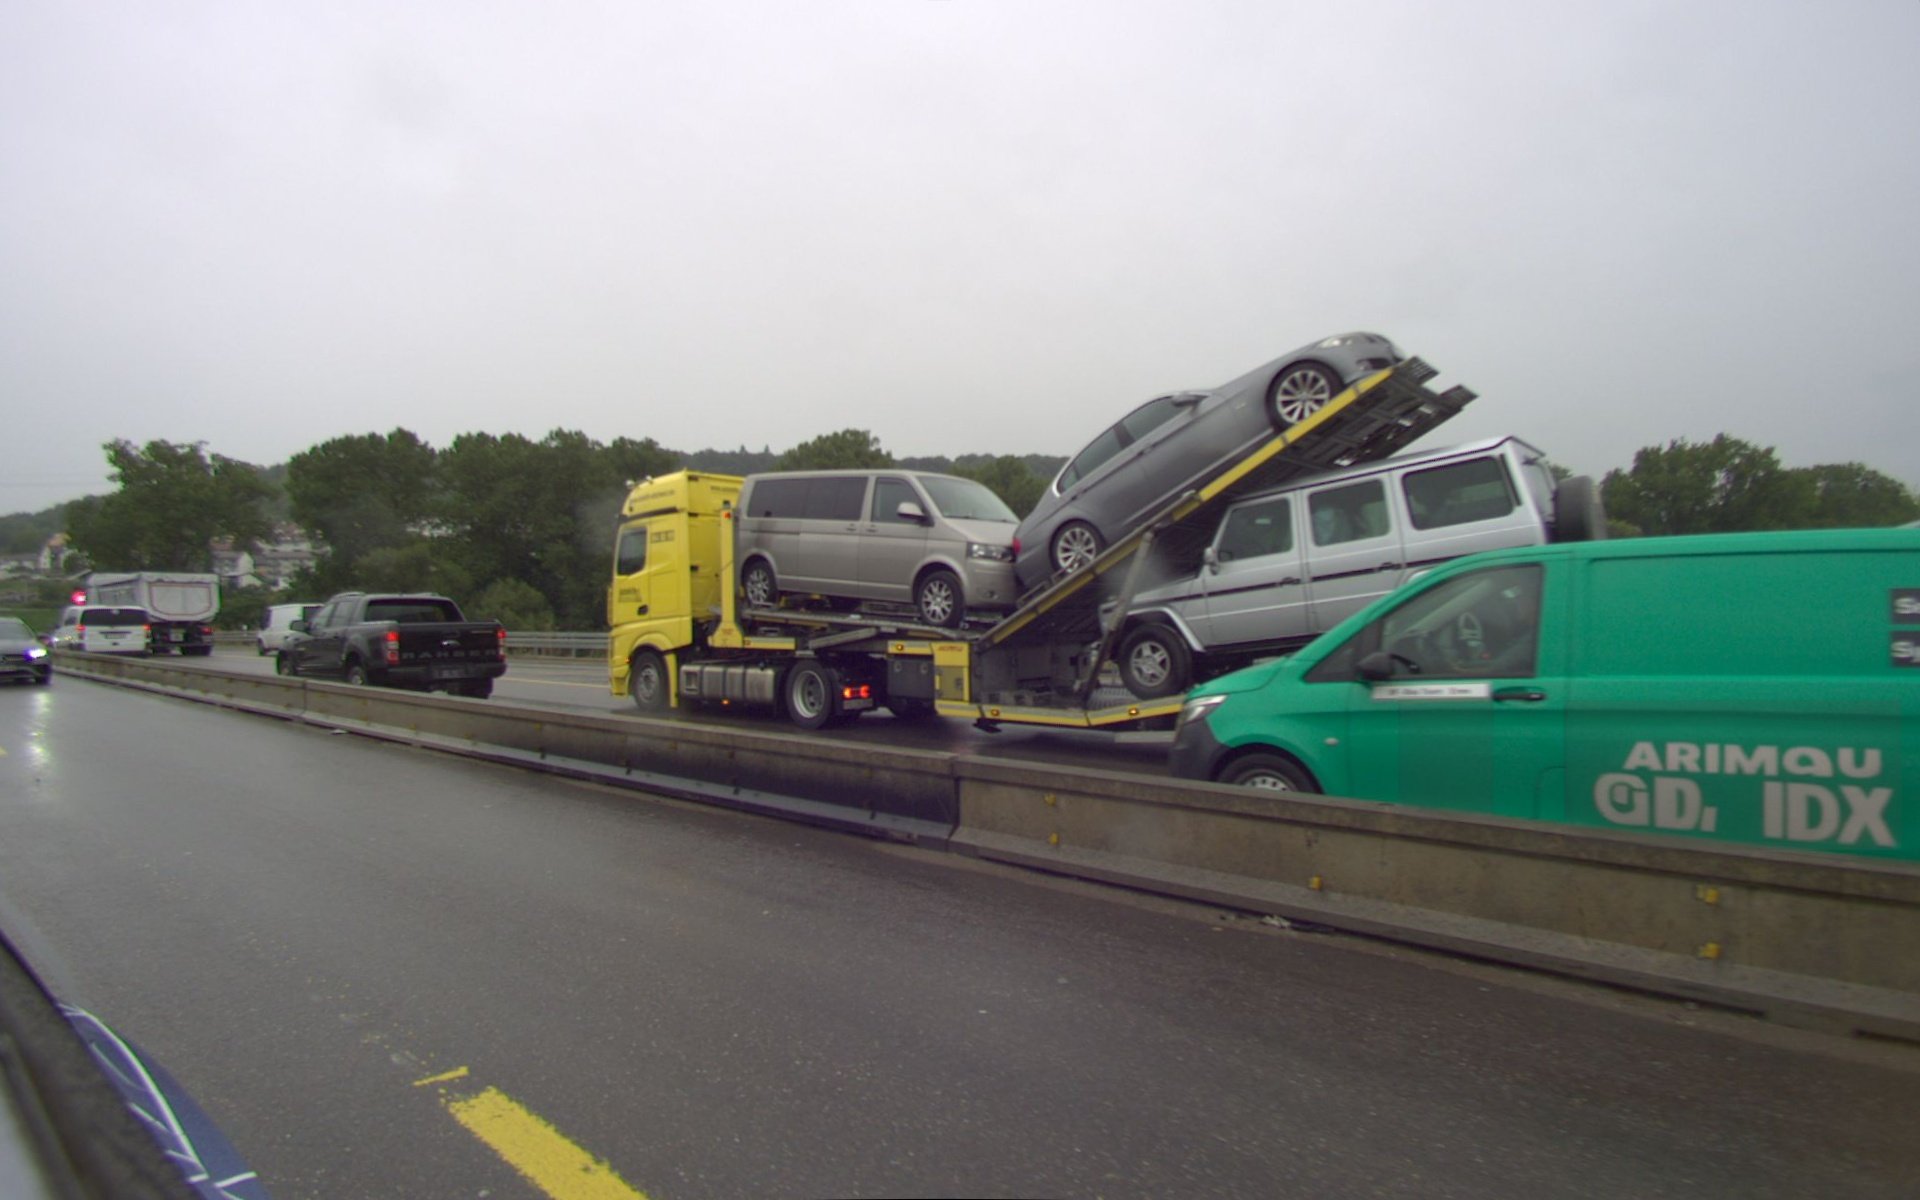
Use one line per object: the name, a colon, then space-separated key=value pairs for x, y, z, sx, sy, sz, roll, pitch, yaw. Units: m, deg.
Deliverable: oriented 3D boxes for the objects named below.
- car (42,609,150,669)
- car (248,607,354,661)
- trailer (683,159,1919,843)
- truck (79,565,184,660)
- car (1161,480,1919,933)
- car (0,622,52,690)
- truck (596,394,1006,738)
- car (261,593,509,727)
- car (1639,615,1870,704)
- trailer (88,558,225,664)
car: x=-28.112 y=1.225 z=32.854 sx=5.356 sy=1.806 sz=1.855 roll=-1 pitch=-2 yaw=41
car: x=-26.814 y=1.354 z=41.112 sx=5.041 sy=2.029 sz=2.242 roll=-1 pitch=-1 yaw=40
trailer: x=2.719 y=-0.486 z=10.443 sx=15.350 sy=4.073 sz=2.721 roll=-1 pitch=-1 yaw=41
truck: x=-37.037 y=0.605 z=45.198 sx=5.270 sy=3.957 sz=2.658 roll=-2 pitch=-3 yaw=41
car: x=3.639 y=0.444 z=5.368 sx=4.685 sy=1.772 sz=1.973 roll=-2 pitch=-1 yaw=41
car: x=-22.233 y=1.244 z=22.963 sx=4.482 sy=1.449 sz=1.926 roll=-2 pitch=-1 yaw=41
truck: x=-2.576 y=-0.347 z=15.077 sx=6.144 sy=4.093 sz=2.721 roll=-2 pitch=-1 yaw=41
car: x=-9.281 y=0.876 z=16.119 sx=5.187 sy=1.819 sz=1.769 roll=-1 pitch=-3 yaw=41
car: x=20.256 y=1.456 z=25.881 sx=4.762 sy=2.078 sz=2.077 roll=0 pitch=-1 yaw=-13
trailer: x=-33.885 y=0.533 z=42.495 sx=9.813 sy=3.994 sz=2.658 roll=-1 pitch=-3 yaw=41
